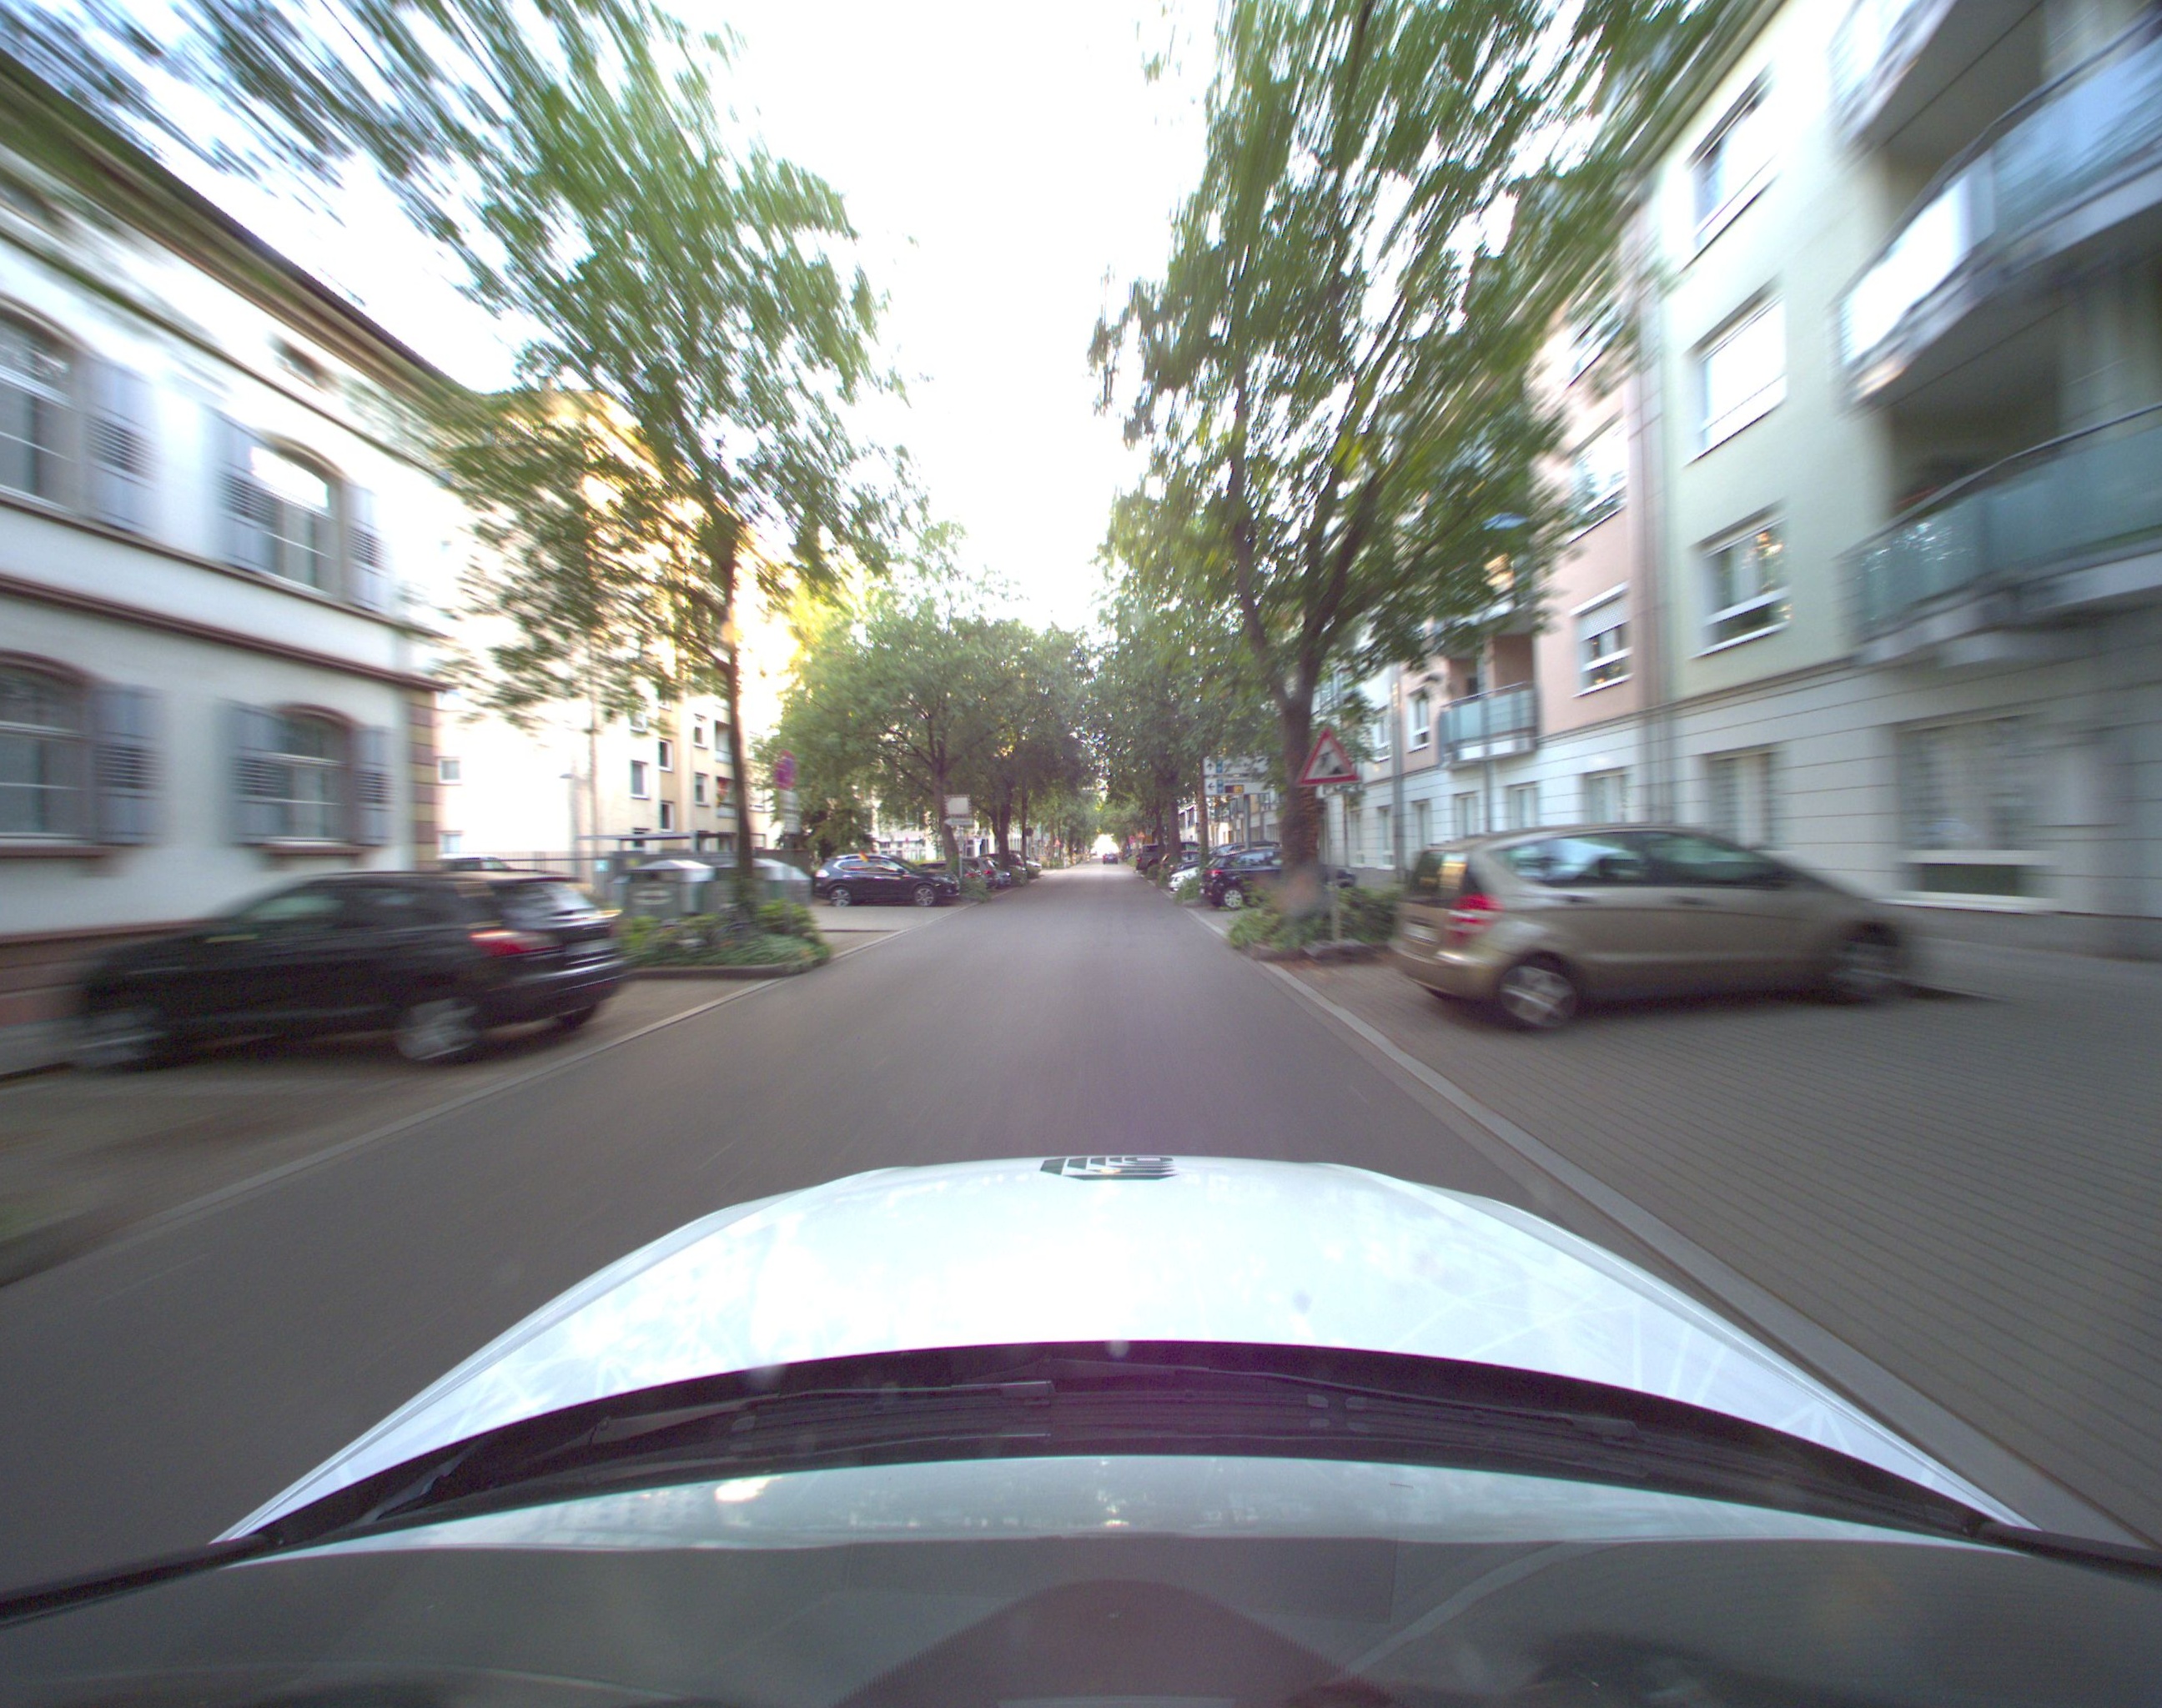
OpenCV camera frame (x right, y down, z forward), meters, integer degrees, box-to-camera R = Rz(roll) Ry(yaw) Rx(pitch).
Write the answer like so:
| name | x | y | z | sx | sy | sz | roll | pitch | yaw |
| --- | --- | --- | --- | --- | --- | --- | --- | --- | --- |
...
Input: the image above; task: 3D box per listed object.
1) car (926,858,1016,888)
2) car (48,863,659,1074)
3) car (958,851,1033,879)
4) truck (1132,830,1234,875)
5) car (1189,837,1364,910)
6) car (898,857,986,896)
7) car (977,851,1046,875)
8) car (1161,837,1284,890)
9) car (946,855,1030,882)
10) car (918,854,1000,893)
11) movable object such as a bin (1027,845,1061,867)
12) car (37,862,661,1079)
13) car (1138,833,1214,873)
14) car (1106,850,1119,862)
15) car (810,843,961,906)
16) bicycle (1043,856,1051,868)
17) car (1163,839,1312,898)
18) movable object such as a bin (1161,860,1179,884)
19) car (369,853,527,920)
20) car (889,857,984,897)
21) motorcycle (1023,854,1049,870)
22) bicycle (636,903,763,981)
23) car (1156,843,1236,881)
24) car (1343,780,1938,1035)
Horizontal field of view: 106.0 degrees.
| name | x | y | z | sx | sy | sz | roll | pitch | yaw |
| --- | --- | --- | --- | --- | --- | --- | --- | --- | --- |
| car | -5.229 | 0.888 | 39.079 | 4.087 | 1.379 | 1.746 | -1 | 0 | -1 |
| car | -6.354 | 0.940 | 7.479 | 3.972 | 1.591 | 1.789 | -1 | 0 | 1 |
| car | -5.239 | 0.671 | 50.434 | 4.382 | 1.684 | 2.064 | 0 | 0 | -1 |
| truck | 6.257 | -0.114 | 50.527 | 5.982 | 2.133 | 2.262 | -6 | 0 | 1 |
| car | 5.003 | 0.483 | 21.207 | 3.978 | 1.474 | 1.912 | -5 | 0 | -3 |
| car | -5.879 | 0.930 | 34.665 | 3.394 | 1.506 | 1.664 | -2 | 0 | -1 |
| car | -4.685 | 0.627 | 55.389 | 4.481 | 1.581 | 2.056 | 0 | -1 | 2 |
| car | 5.577 | 0.363 | 32.384 | 4.379 | 1.703 | 1.891 | -5 | 0 | -7 |
| car | -5.445 | 0.849 | 48.205 | 4.701 | 1.424 | 2.071 | -1 | 0 | -1 |
| car | -5.481 | 0.879 | 36.853 | 3.394 | 1.609 | 1.760 | -2 | 0 | -1 |
| movable object such as a bin | -4.173 | 0.206 | 93.260 | 3.654 | 2.333 | 2.583 | -2 | 0 | 0 |
| car | -6.345 | 0.940 | 7.463 | 3.975 | 1.588 | 1.827 | -2 | 0 | -1 |
| car | 6.141 | -0.063 | 53.103 | 4.603 | 2.133 | 2.037 | -6 | 0 | 1 |
| car | 3.965 | 0.252 | 102.936 | 1.495 | 1.416 | 3.715 | -2 | 0 | 2 |
| car | -6.328 | 0.650 | 26.793 | 4.402 | 1.892 | 2.000 | -1 | 0 | 1 |
| bicycle | -3.227 | 0.773 | 77.836 | 0.599 | 1.118 | 1.800 | -2 | 1 | 2 |
| car | 5.141 | 0.463 | 27.189 | 4.556 | 1.552 | 1.773 | -5 | 0 | 1 |
| movable object such as a bin | 4.156 | 0.833 | 38.186 | 0.772 | 1.068 | 0.589 | -2 | 0 | 1 |
| car | -21.404 | 1.018 | 27.806 | 1.775 | 1.956 | 4.418 | -2 | 1 | 2 |
| car | -5.632 | 0.879 | 31.961 | 3.394 | 1.442 | 1.594 | -2 | 0 | -1 |
| motorcycle | -4.169 | 0.724 | 75.192 | 2.391 | 1.440 | 0.792 | -2 | 0 | -38 |
| bicycle | -5.353 | 1.220 | 11.507 | 1.562 | 0.937 | 0.481 | -2 | 0 | -22 |
| car | 5.736 | 0.421 | 40.834 | 3.653 | 1.548 | 1.780 | -5 | -1 | -1 |
| car | 4.588 | 0.414 | 7.206 | 3.848 | 1.667 | 1.926 | -4 | 0 | 1 |
